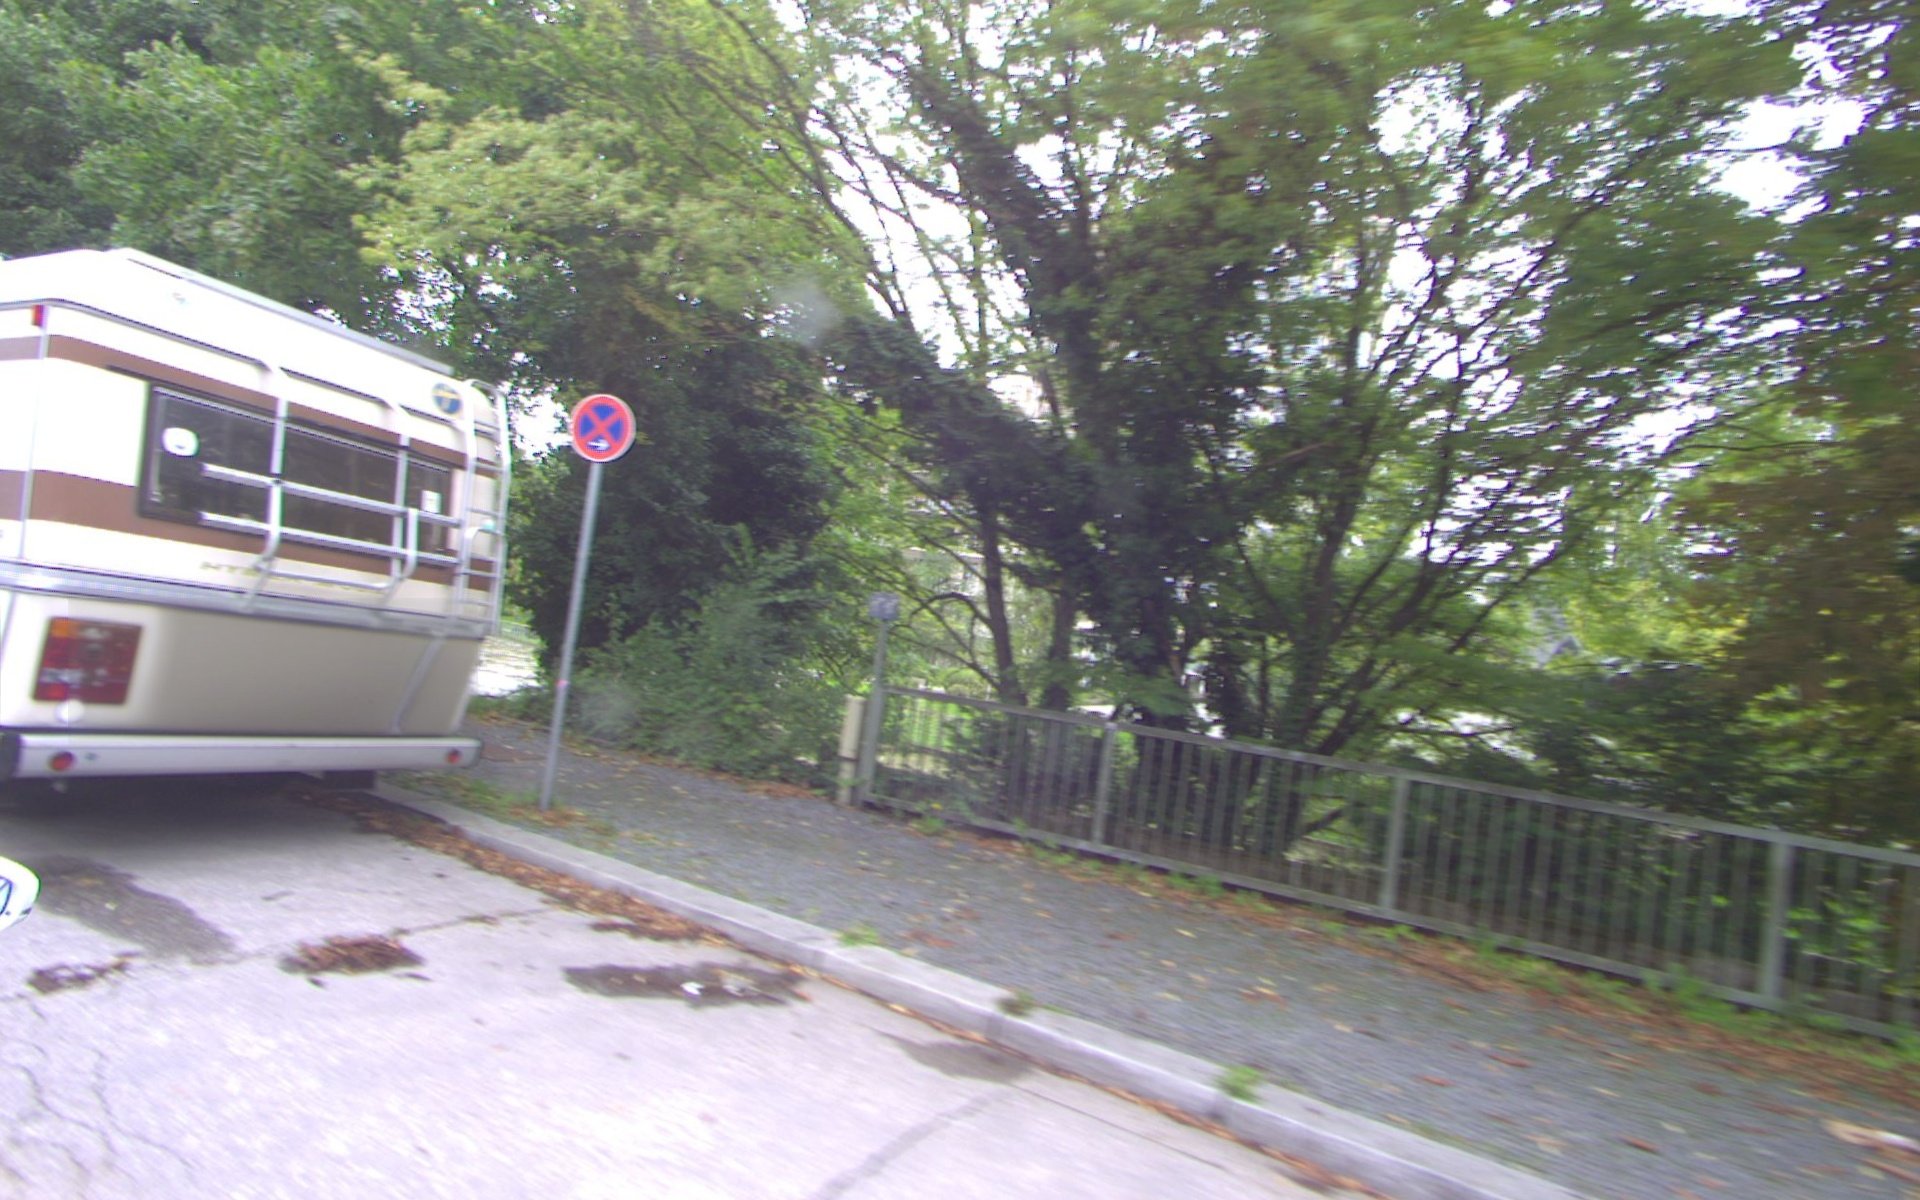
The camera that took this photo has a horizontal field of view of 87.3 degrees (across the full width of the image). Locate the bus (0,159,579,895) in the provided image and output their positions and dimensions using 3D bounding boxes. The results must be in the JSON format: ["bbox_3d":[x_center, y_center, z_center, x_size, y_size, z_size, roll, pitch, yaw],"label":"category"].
[{"bbox_3d":[-5.377,-0.445,5.970,5.633,2.728,2.324,7,-3,27],"label":"bus"}]
